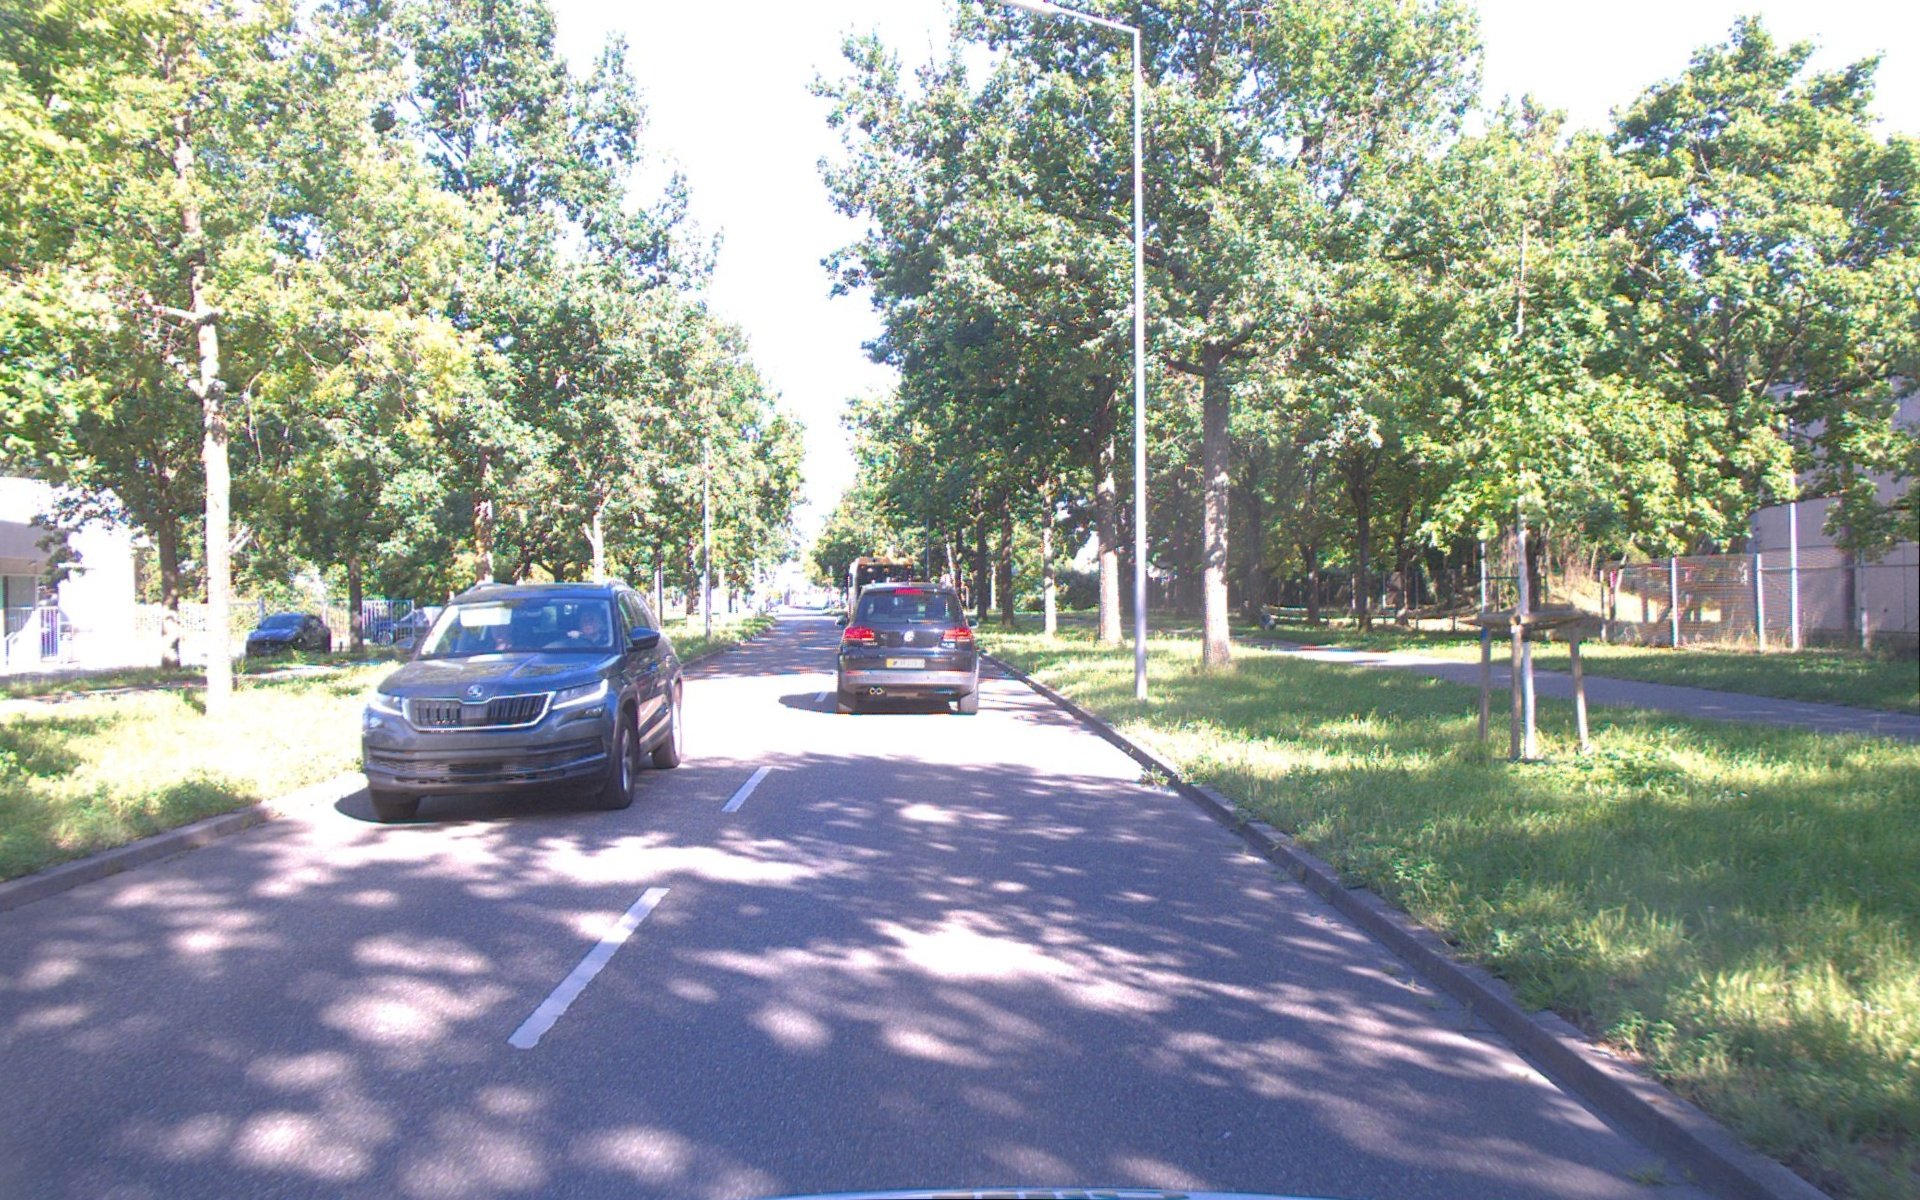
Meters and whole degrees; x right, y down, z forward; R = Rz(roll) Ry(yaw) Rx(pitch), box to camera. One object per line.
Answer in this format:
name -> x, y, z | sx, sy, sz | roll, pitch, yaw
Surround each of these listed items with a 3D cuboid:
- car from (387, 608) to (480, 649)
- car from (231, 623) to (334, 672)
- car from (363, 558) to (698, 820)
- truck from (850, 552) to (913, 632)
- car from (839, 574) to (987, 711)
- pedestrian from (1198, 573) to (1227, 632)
car -> -24.953, 1.341, 78.474 | 3.915, 1.833, 1.995 | 1, 0, -11
car -> -24.535, 1.704, 60.076 | 1.954, 1.626, 5.010 | 1, 0, -4
car -> -3.240, 0.612, 13.303 | 1.732, 1.701, 4.197 | -2, 0, -3
truck -> -3.558, -0.337, 73.467 | 2.463, 3.300, 8.143 | -1, 0, -5
car -> -0.719, 0.537, 22.342 | 1.747, 1.662, 3.996 | 1, 0, -5
pedestrian -> 7.357, 0.071, 48.174 | 0.701, 1.659, 0.610 | -3, 0, 14
